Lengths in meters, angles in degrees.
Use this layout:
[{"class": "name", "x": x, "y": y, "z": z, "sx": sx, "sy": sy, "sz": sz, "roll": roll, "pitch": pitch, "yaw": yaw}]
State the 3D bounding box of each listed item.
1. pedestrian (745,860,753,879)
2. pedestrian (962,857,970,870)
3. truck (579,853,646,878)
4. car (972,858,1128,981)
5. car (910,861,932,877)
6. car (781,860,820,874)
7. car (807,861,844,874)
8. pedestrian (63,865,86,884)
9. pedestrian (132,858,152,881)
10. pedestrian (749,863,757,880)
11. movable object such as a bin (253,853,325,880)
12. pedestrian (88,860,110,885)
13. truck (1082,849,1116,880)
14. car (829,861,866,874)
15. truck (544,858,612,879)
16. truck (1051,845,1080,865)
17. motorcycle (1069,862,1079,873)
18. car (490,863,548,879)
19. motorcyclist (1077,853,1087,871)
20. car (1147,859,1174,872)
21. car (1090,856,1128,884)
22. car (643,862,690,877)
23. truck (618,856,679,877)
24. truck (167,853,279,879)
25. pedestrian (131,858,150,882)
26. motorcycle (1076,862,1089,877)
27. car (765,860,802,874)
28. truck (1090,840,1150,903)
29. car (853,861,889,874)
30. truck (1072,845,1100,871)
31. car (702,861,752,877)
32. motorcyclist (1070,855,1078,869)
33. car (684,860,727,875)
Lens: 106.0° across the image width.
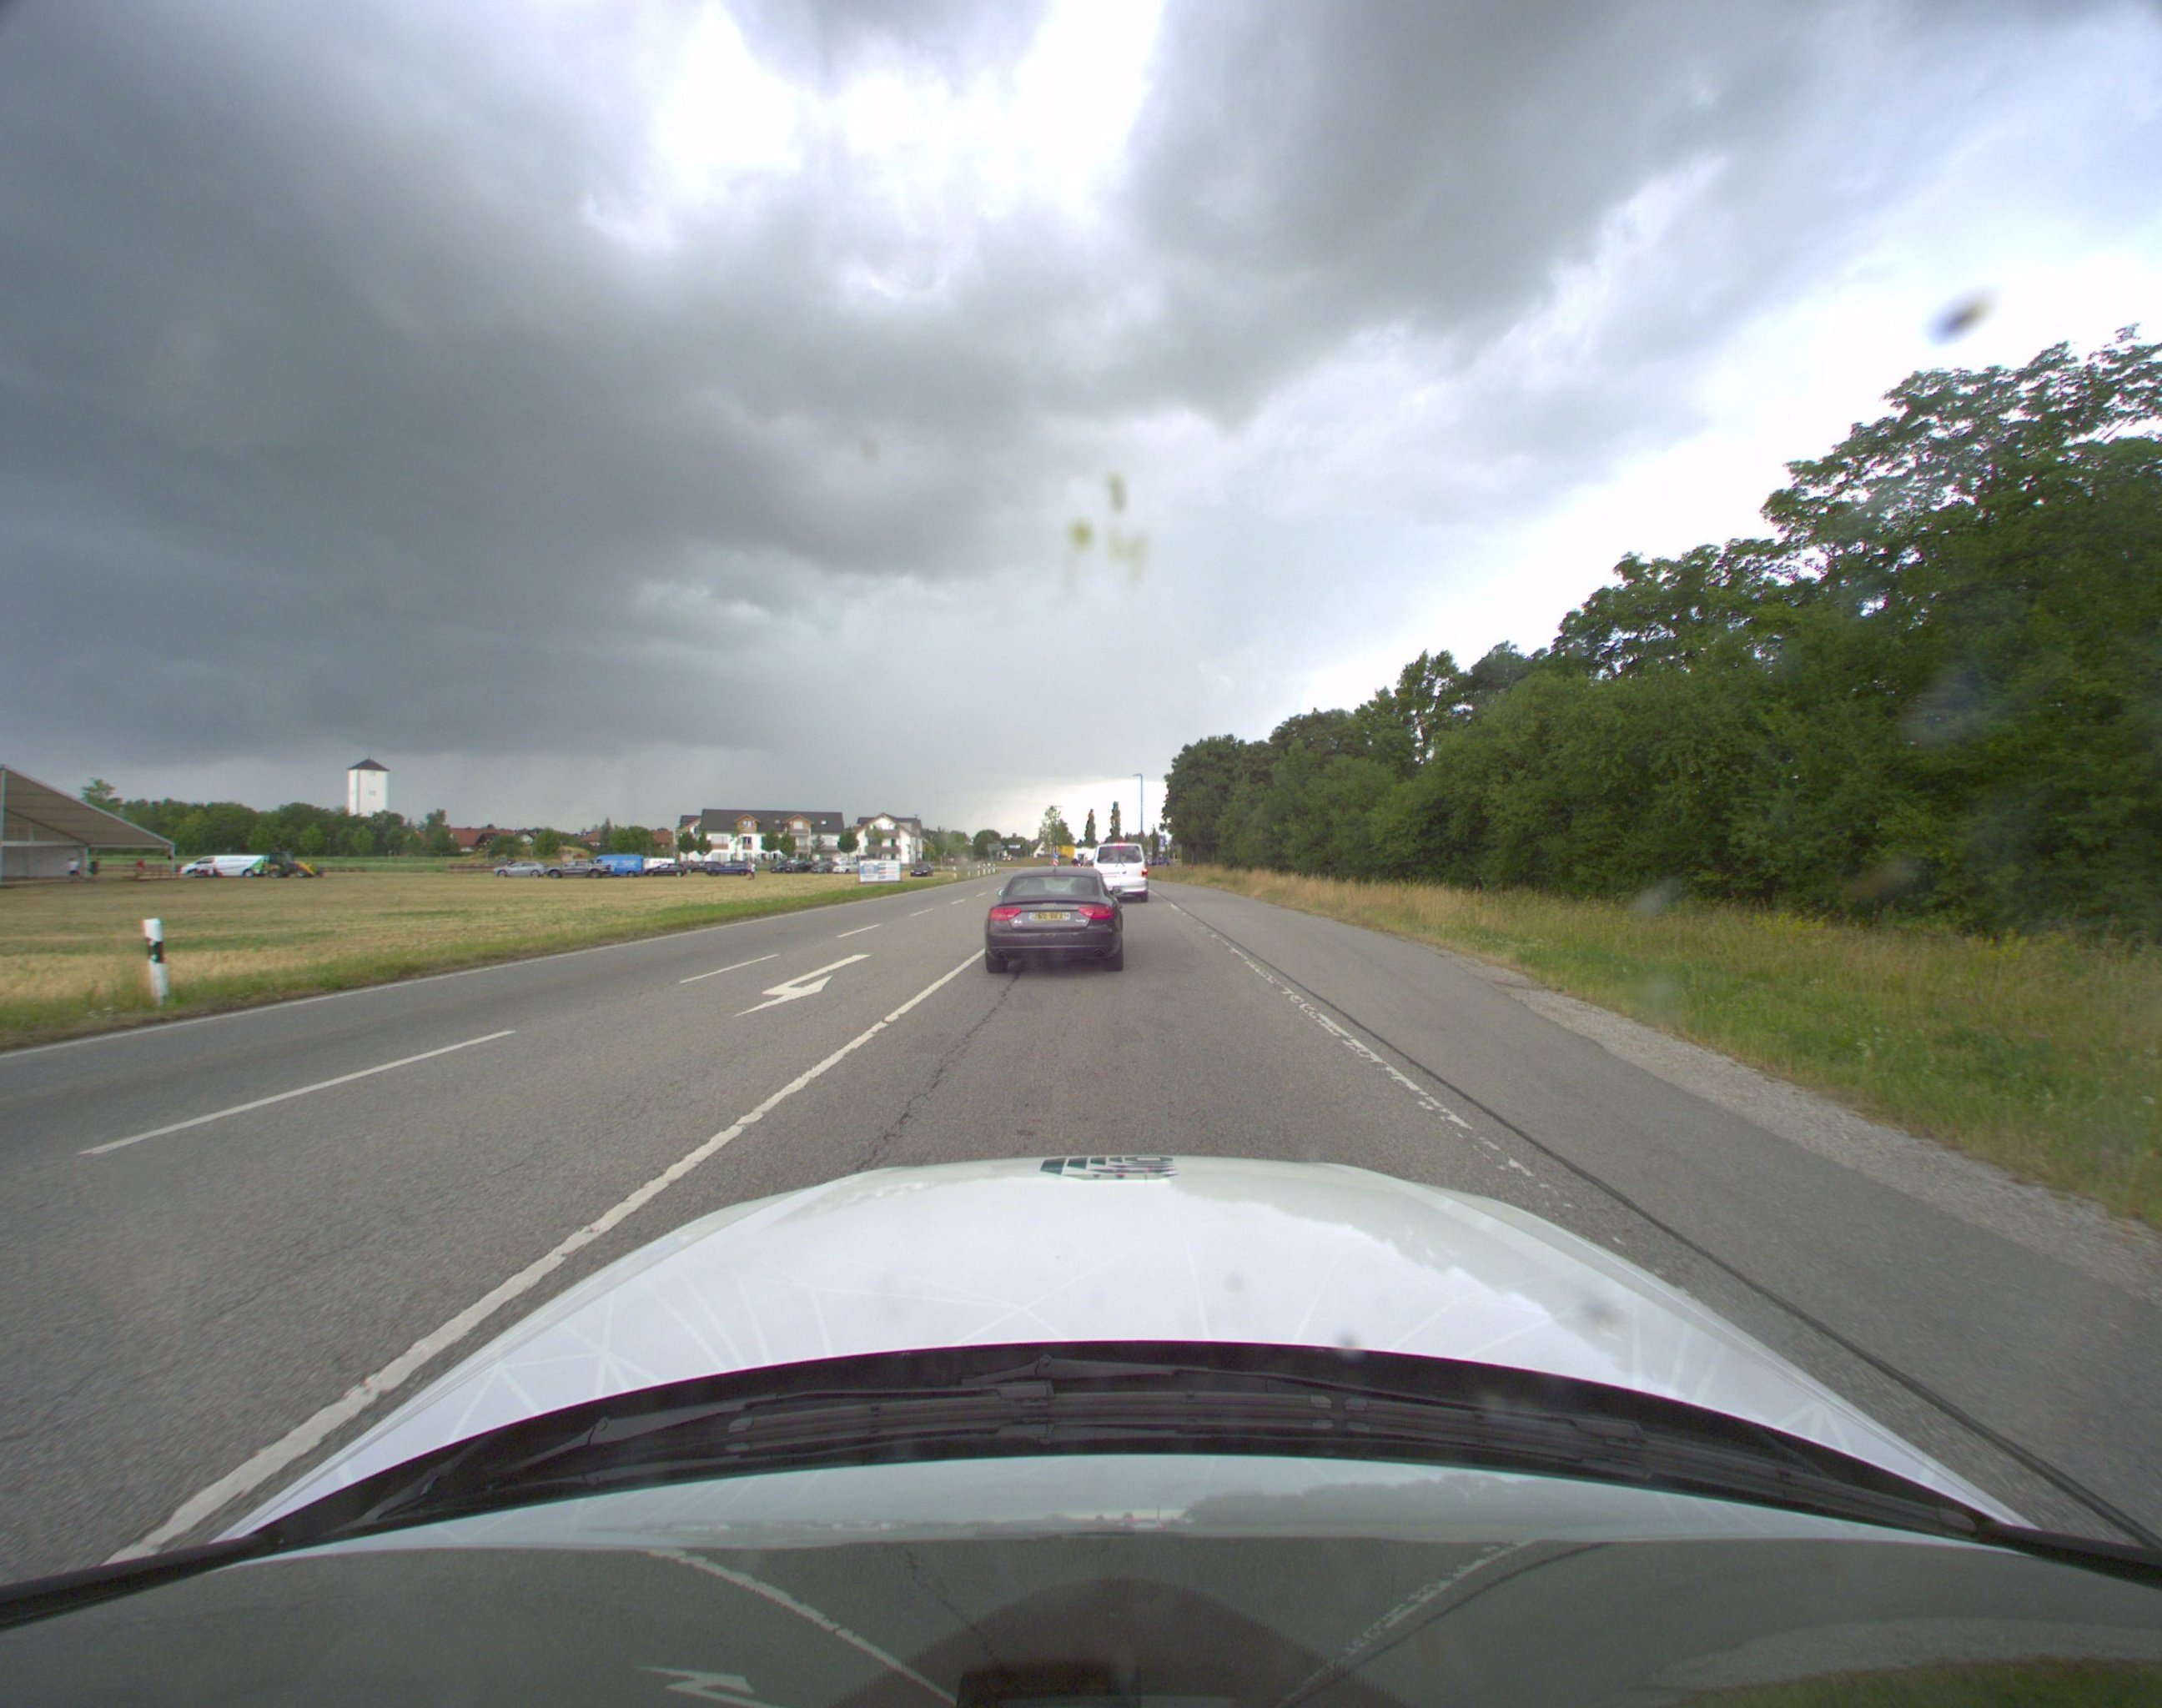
[{"class": "pedestrian", "x": -30.835, "y": 1.430, "z": 75.675, "sx": 0.548, "sy": 1.786, "sz": 0.676, "roll": 0, "pitch": -1, "yaw": -10}, {"class": "pedestrian", "x": -13.905, "y": 1.170, "z": 98.494, "sx": 0.695, "sy": 1.586, "sz": 0.661, "roll": -1, "pitch": -1, "yaw": 19}, {"class": "truck", "x": -46.872, "y": 1.113, "z": 81.550, "sx": 5.467, "sy": 2.446, "sz": 2.377, "roll": 0, "pitch": -1, "yaw": -21}, {"class": "car", "x": -0.305, "y": 0.809, "z": 11.935, "sx": 1.868, "sy": 1.454, "sz": 4.179, "roll": -1, "pitch": 0, "yaw": 2}, {"class": "car", "x": -16.055, "y": 1.486, "z": 81.810, "sx": 1.993, "sy": 1.442, "sz": 3.988, "roll": 0, "pitch": 0, "yaw": -9}, {"class": "car", "x": -33.018, "y": 1.508, "z": 95.978, "sx": 1.977, "sy": 1.629, "sz": 4.233, "roll": -1, "pitch": 0, "yaw": 20}, {"class": "car", "x": -29.890, "y": 1.566, "z": 95.425, "sx": 1.977, "sy": 1.536, "sz": 4.233, "roll": -1, "pitch": 0, "yaw": 20}, {"class": "pedestrian", "x": -70.307, "y": 1.439, "z": 56.874, "sx": 0.688, "sy": 1.271, "sz": 0.692, "roll": 0, "pitch": -1, "yaw": -9}, {"class": "pedestrian", "x": -71.580, "y": 1.183, "z": 62.079, "sx": 0.690, "sy": 1.776, "sz": 0.691, "roll": 0, "pitch": -1, "yaw": -17}, {"class": "pedestrian", "x": -30.889, "y": 1.673, "z": 76.713, "sx": 0.591, "sy": 1.555, "sz": 0.622, "roll": 0, "pitch": -1, "yaw": -17}, {"class": "movable object such as a bin", "x": -68.178, "y": 1.050, "z": 70.153, "sx": 4.005, "sy": 2.243, "sz": 1.869, "roll": 0, "pitch": -1, "yaw": -26}, {"class": "pedestrian", "x": -69.216, "y": 1.311, "z": 57.406, "sx": 0.686, "sy": 1.776, "sz": 0.695, "roll": 0, "pitch": -1, "yaw": 2}, {"class": "truck", "x": 1.262, "y": 0.698, "z": 54.595, "sx": 2.185, "sy": 2.014, "sz": 5.088, "roll": 0, "pitch": 0, "yaw": 2}, {"class": "car", "x": -27.158, "y": 1.526, "z": 94.921, "sx": 1.977, "sy": 1.446, "sz": 4.233, "roll": -1, "pitch": 0, "yaw": 20}, {"class": "truck", "x": -47.743, "y": 1.394, "z": 77.426, "sx": 5.251, "sy": 1.921, "sz": 2.095, "roll": 0, "pitch": -1, "yaw": -25}, {"class": "truck", "x": -3.010, "y": 0.113, "z": 153.548, "sx": 3.579, "sy": 3.578, "sz": 9.916, "roll": 1, "pitch": 0, "yaw": -12}, {"class": "motorcycle", "x": -0.658, "y": 1.312, "z": 77.905, "sx": 0.941, "sy": 1.019, "sz": 2.285, "roll": 0, "pitch": 0, "yaw": 2}, {"class": "car", "x": -54.442, "y": 1.632, "z": 78.935, "sx": 4.315, "sy": 1.461, "sz": 1.876, "roll": 0, "pitch": -1, "yaw": -25}, {"class": "motorcyclist", "x": 0.103, "y": 0.609, "z": 64.178, "sx": 0.769, "sy": 1.383, "sz": 0.820, "roll": 0, "pitch": -1, "yaw": 1}, {"class": "car", "x": 12.822, "y": 1.846, "z": 131.883, "sx": 3.952, "sy": 2.014, "sz": 2.011, "roll": 0, "pitch": -1, "yaw": 22}, {"class": "car", "x": 1.563, "y": 0.878, "z": 45.687, "sx": 1.986, "sy": 1.485, "sz": 4.001, "roll": 0, "pitch": -1, "yaw": 2}, {"class": "car", "x": -43.836, "y": 1.670, "z": 86.208, "sx": 4.167, "sy": 1.519, "sz": 1.988, "roll": 0, "pitch": -1, "yaw": -19}, {"class": "truck", "x": -47.232, "y": 1.365, "z": 89.146, "sx": 5.585, "sy": 2.197, "sz": 2.589, "roll": 0, "pitch": -1, "yaw": -21}, {"class": "truck", "x": -74.654, "y": 1.026, "z": 71.026, "sx": 6.074, "sy": 2.217, "sz": 2.698, "roll": 0, "pitch": -1, "yaw": -25}, {"class": "pedestrian", "x": -73.042, "y": 1.226, "z": 63.233, "sx": 0.621, "sy": 1.866, "sz": 0.709, "roll": 0, "pitch": -1, "yaw": 3}, {"class": "motorcycle", "x": 0.113, "y": 1.222, "z": 64.163, "sx": 0.916, "sy": 1.094, "sz": 2.189, "roll": 0, "pitch": 0, "yaw": 2}, {"class": "car", "x": -35.859, "y": 1.512, "z": 98.236, "sx": 1.977, "sy": 1.629, "sz": 4.233, "roll": -1, "pitch": 0, "yaw": 20}, {"class": "truck", "x": 1.349, "y": 0.568, "z": 28.315, "sx": 1.896, "sy": 1.998, "sz": 4.631, "roll": 0, "pitch": 0, "yaw": 2}, {"class": "car", "x": -24.287, "y": 1.592, "z": 94.436, "sx": 1.977, "sy": 1.446, "sz": 4.233, "roll": -1, "pitch": 0, "yaw": 20}, {"class": "truck", "x": 0.494, "y": 0.458, "z": 88.986, "sx": 2.622, "sy": 2.737, "sz": 5.857, "roll": 0, "pitch": 0, "yaw": -4}, {"class": "car", "x": -38.301, "y": 1.607, "z": 88.202, "sx": 4.729, "sy": 1.697, "sz": 1.988, "roll": 0, "pitch": -1, "yaw": -18}, {"class": "motorcyclist", "x": -0.676, "y": 0.778, "z": 77.921, "sx": 0.783, "sy": 1.356, "sz": 0.854, "roll": 0, "pitch": -1, "yaw": 1}, {"class": "car", "x": -46.094, "y": 1.636, "z": 100.061, "sx": 4.638, "sy": 1.697, "sz": 1.988, "roll": 0, "pitch": -1, "yaw": -18}]
